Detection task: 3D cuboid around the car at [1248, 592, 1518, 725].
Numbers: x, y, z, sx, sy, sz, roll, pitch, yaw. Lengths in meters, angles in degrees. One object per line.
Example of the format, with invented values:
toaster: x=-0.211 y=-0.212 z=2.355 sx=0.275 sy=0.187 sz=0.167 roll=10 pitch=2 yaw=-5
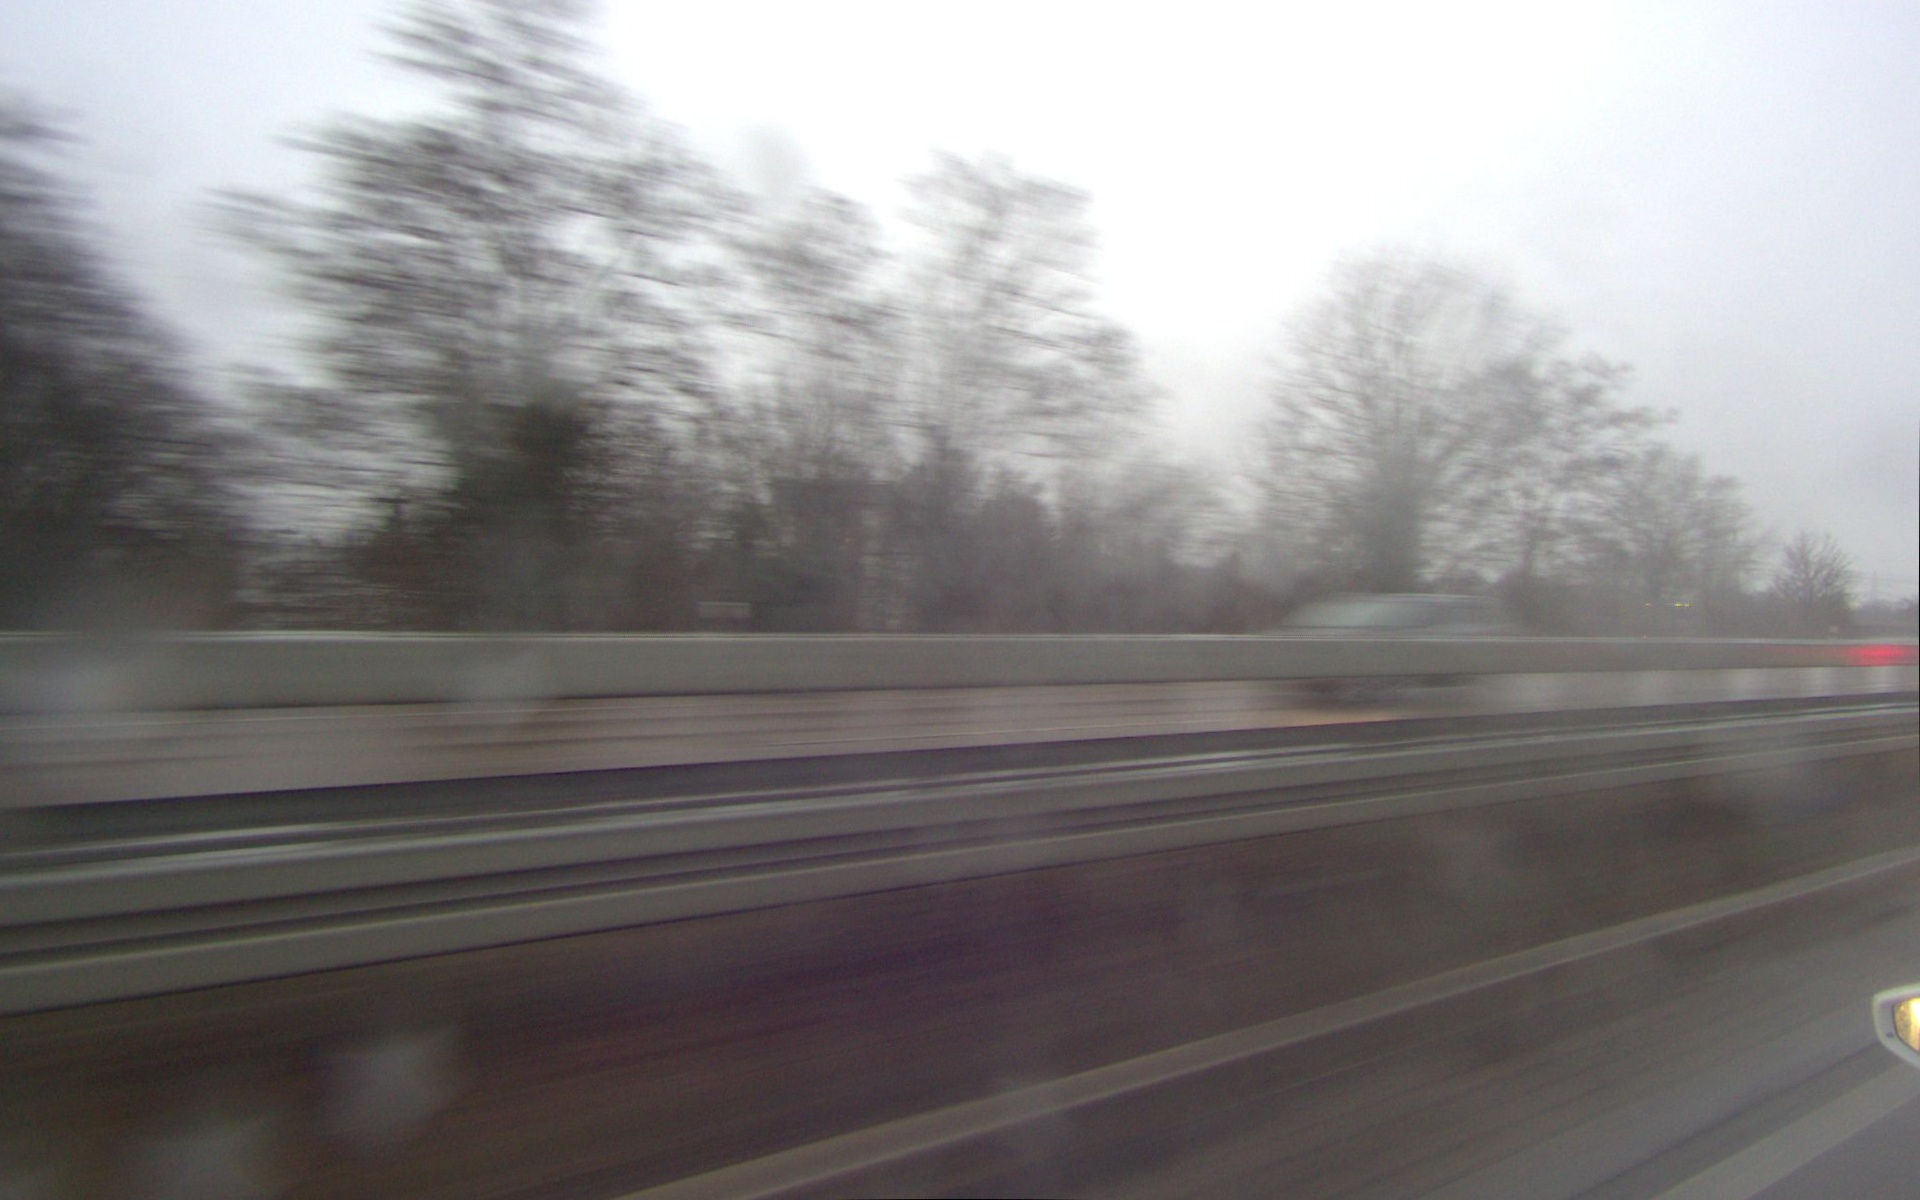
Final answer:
car: x=6.714 y=0.902 z=15.867 sx=4.085 sy=1.857 sz=1.737 roll=3 pitch=-1 yaw=-29
